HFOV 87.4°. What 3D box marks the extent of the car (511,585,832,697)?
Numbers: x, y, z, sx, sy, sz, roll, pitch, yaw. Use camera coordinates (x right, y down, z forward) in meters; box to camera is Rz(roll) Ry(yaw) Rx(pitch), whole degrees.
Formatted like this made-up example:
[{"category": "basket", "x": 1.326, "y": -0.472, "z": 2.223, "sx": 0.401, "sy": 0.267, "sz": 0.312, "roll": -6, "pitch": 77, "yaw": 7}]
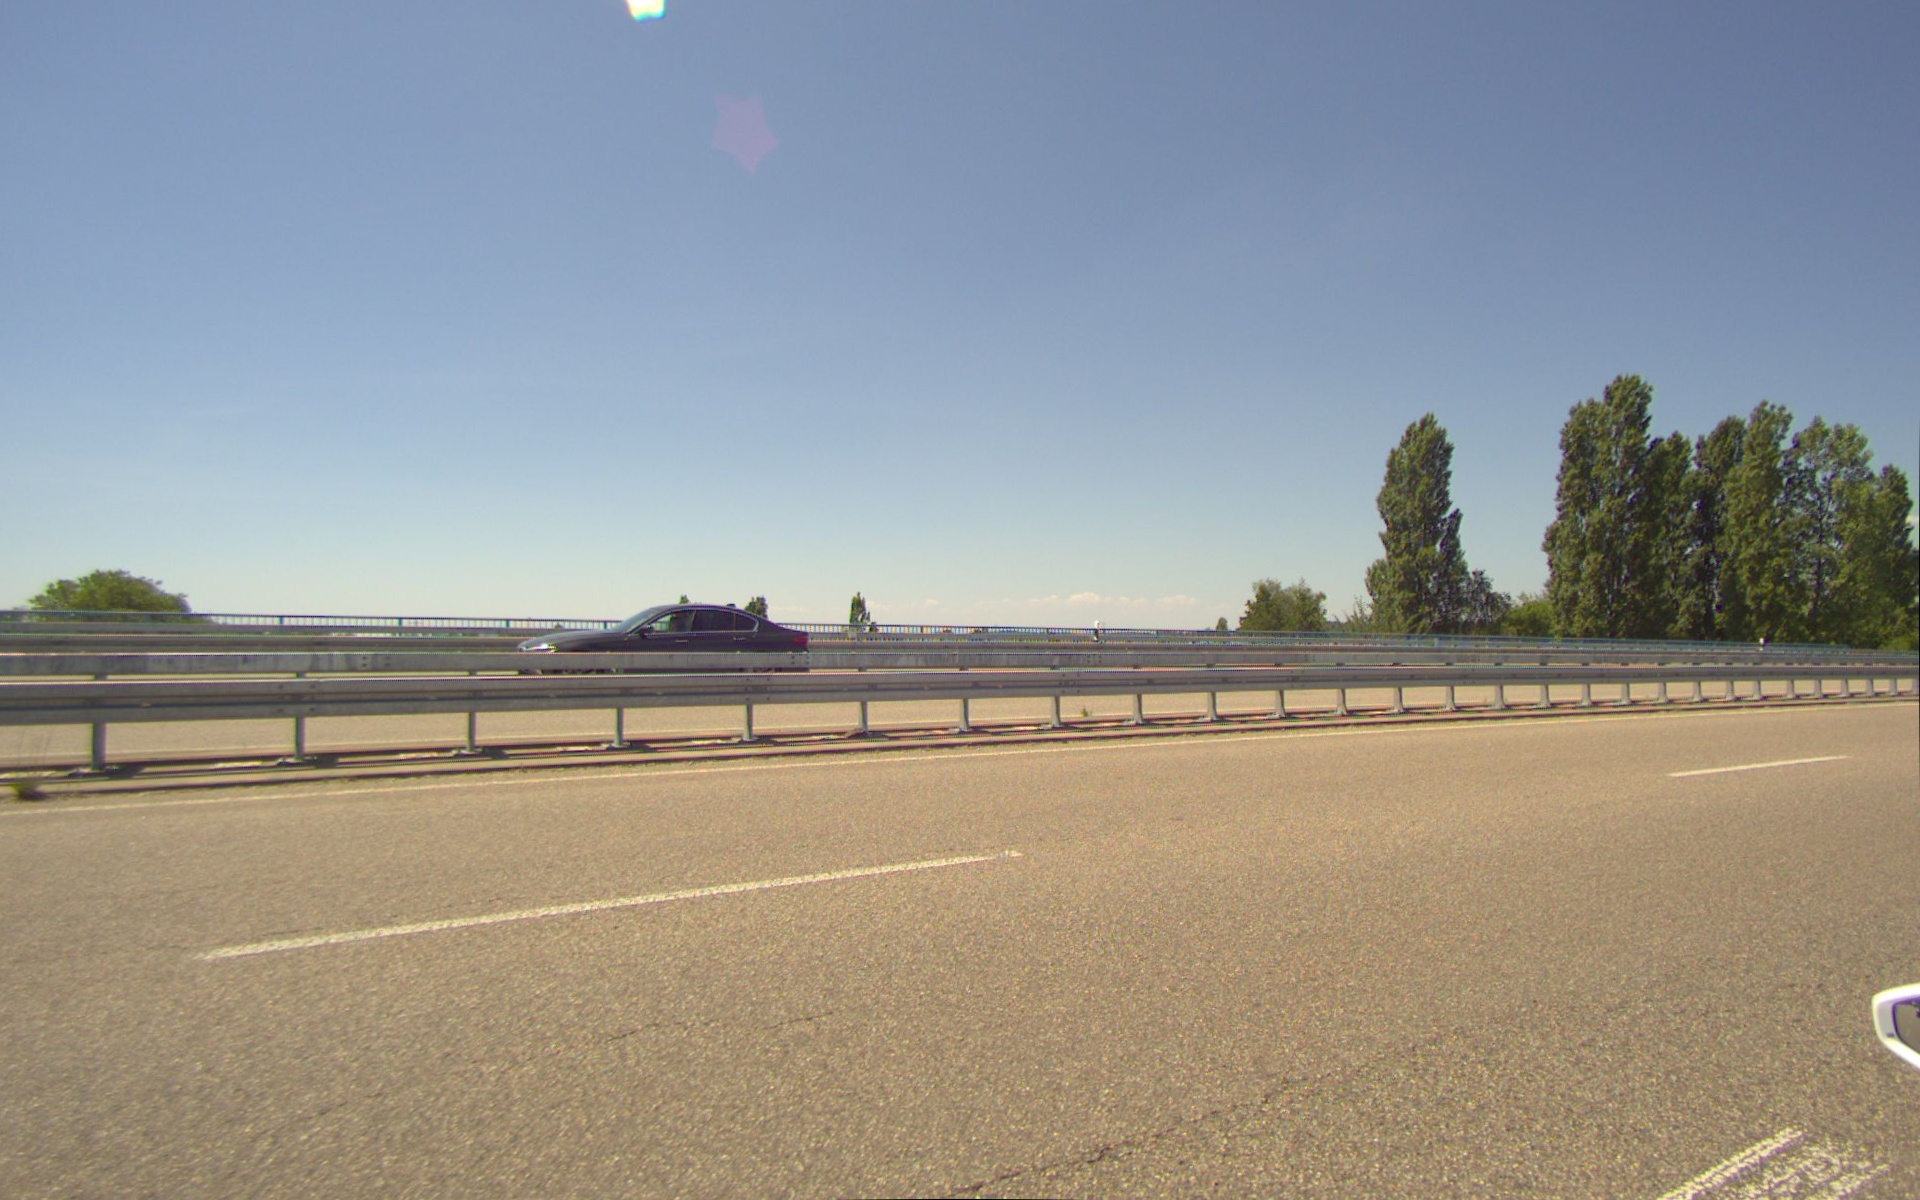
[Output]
[{"category": "car", "x": -4.875, "y": 0.735, "z": 17.262, "sx": 4.992, "sy": 1.689, "sz": 1.835, "roll": 3, "pitch": -2, "yaw": -30}]
